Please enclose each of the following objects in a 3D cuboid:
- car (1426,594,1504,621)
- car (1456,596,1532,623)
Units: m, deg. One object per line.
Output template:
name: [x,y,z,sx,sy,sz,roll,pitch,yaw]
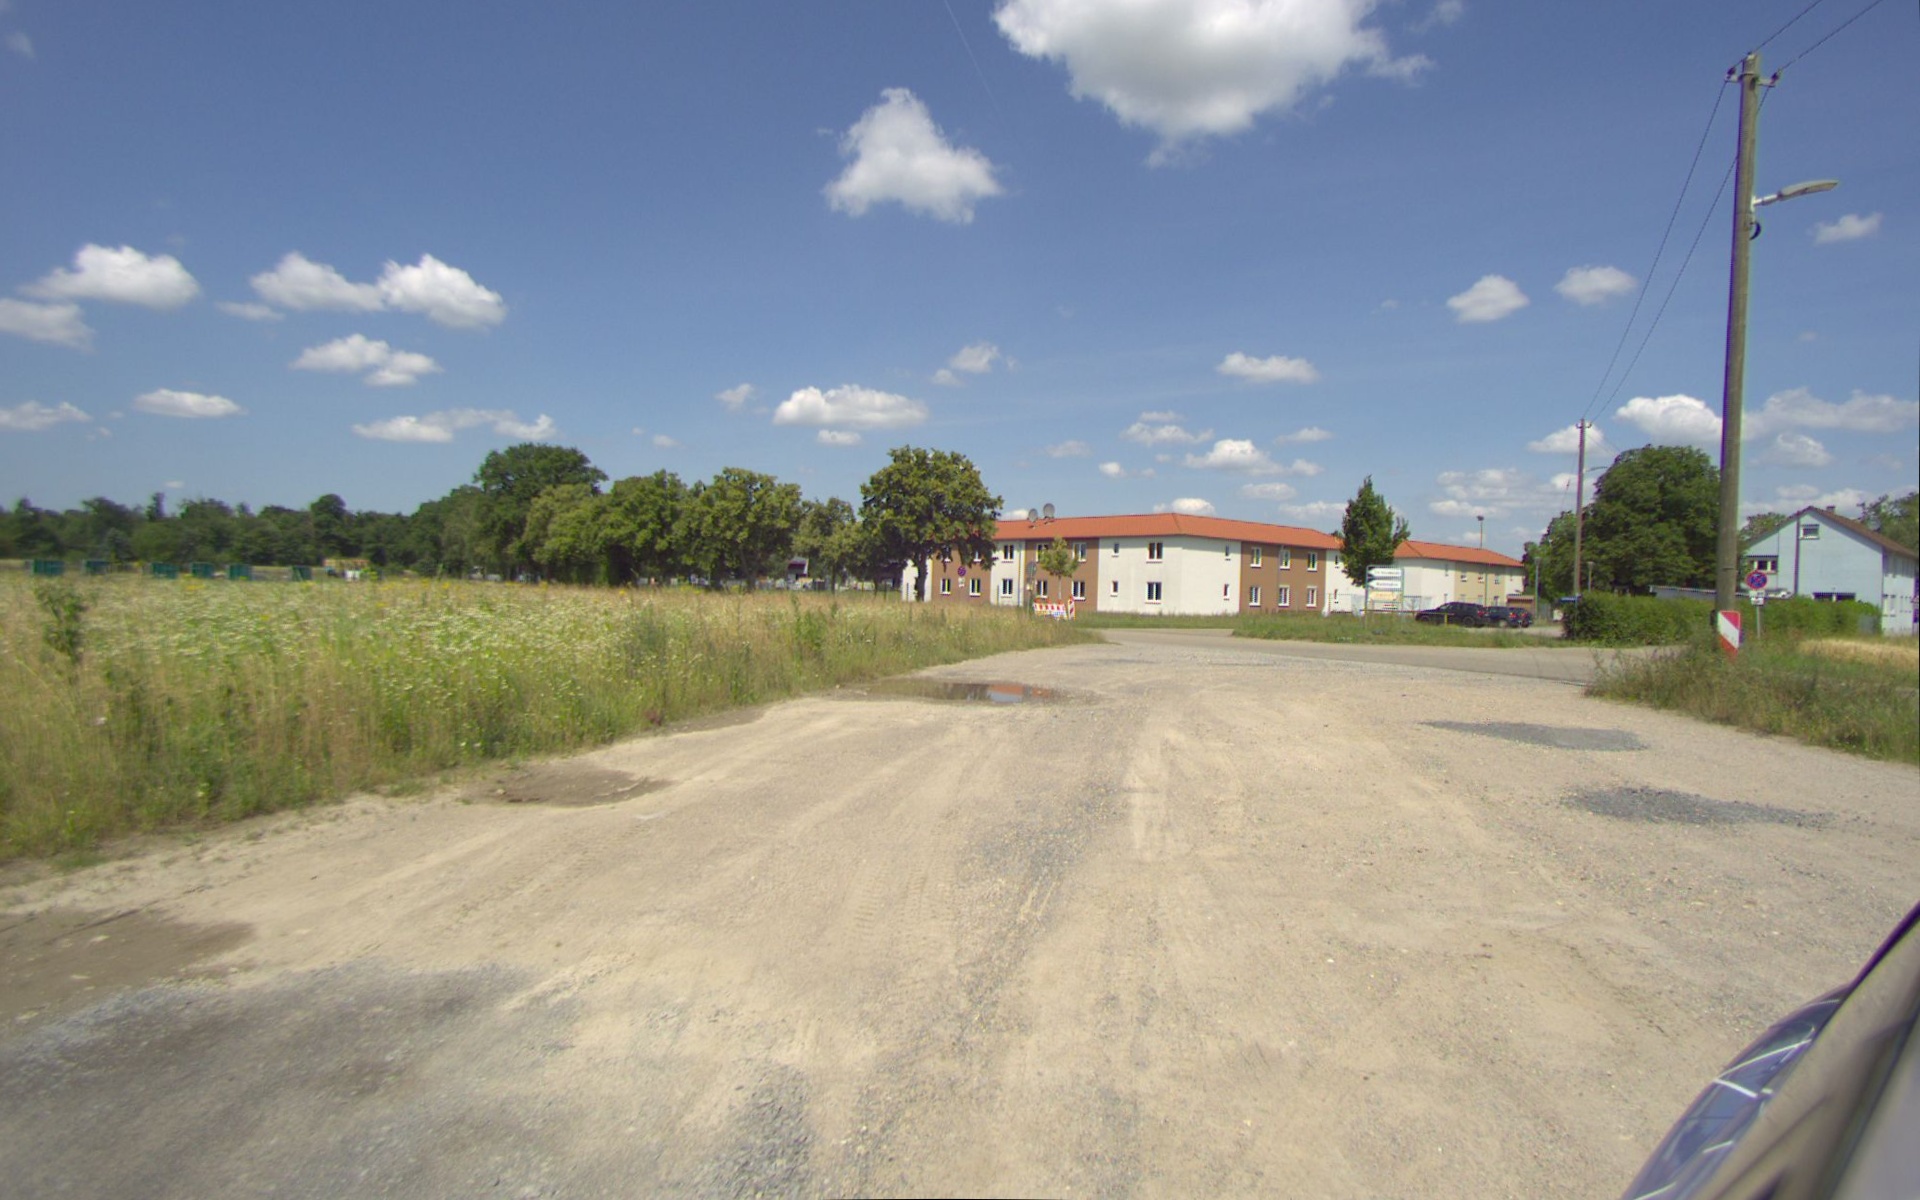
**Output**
car: [33.282,0.461,66.739,1.965,1.635,4.143,1,1,-41]
car: [36.403,0.643,69.025,1.965,1.635,4.143,1,1,-41]
